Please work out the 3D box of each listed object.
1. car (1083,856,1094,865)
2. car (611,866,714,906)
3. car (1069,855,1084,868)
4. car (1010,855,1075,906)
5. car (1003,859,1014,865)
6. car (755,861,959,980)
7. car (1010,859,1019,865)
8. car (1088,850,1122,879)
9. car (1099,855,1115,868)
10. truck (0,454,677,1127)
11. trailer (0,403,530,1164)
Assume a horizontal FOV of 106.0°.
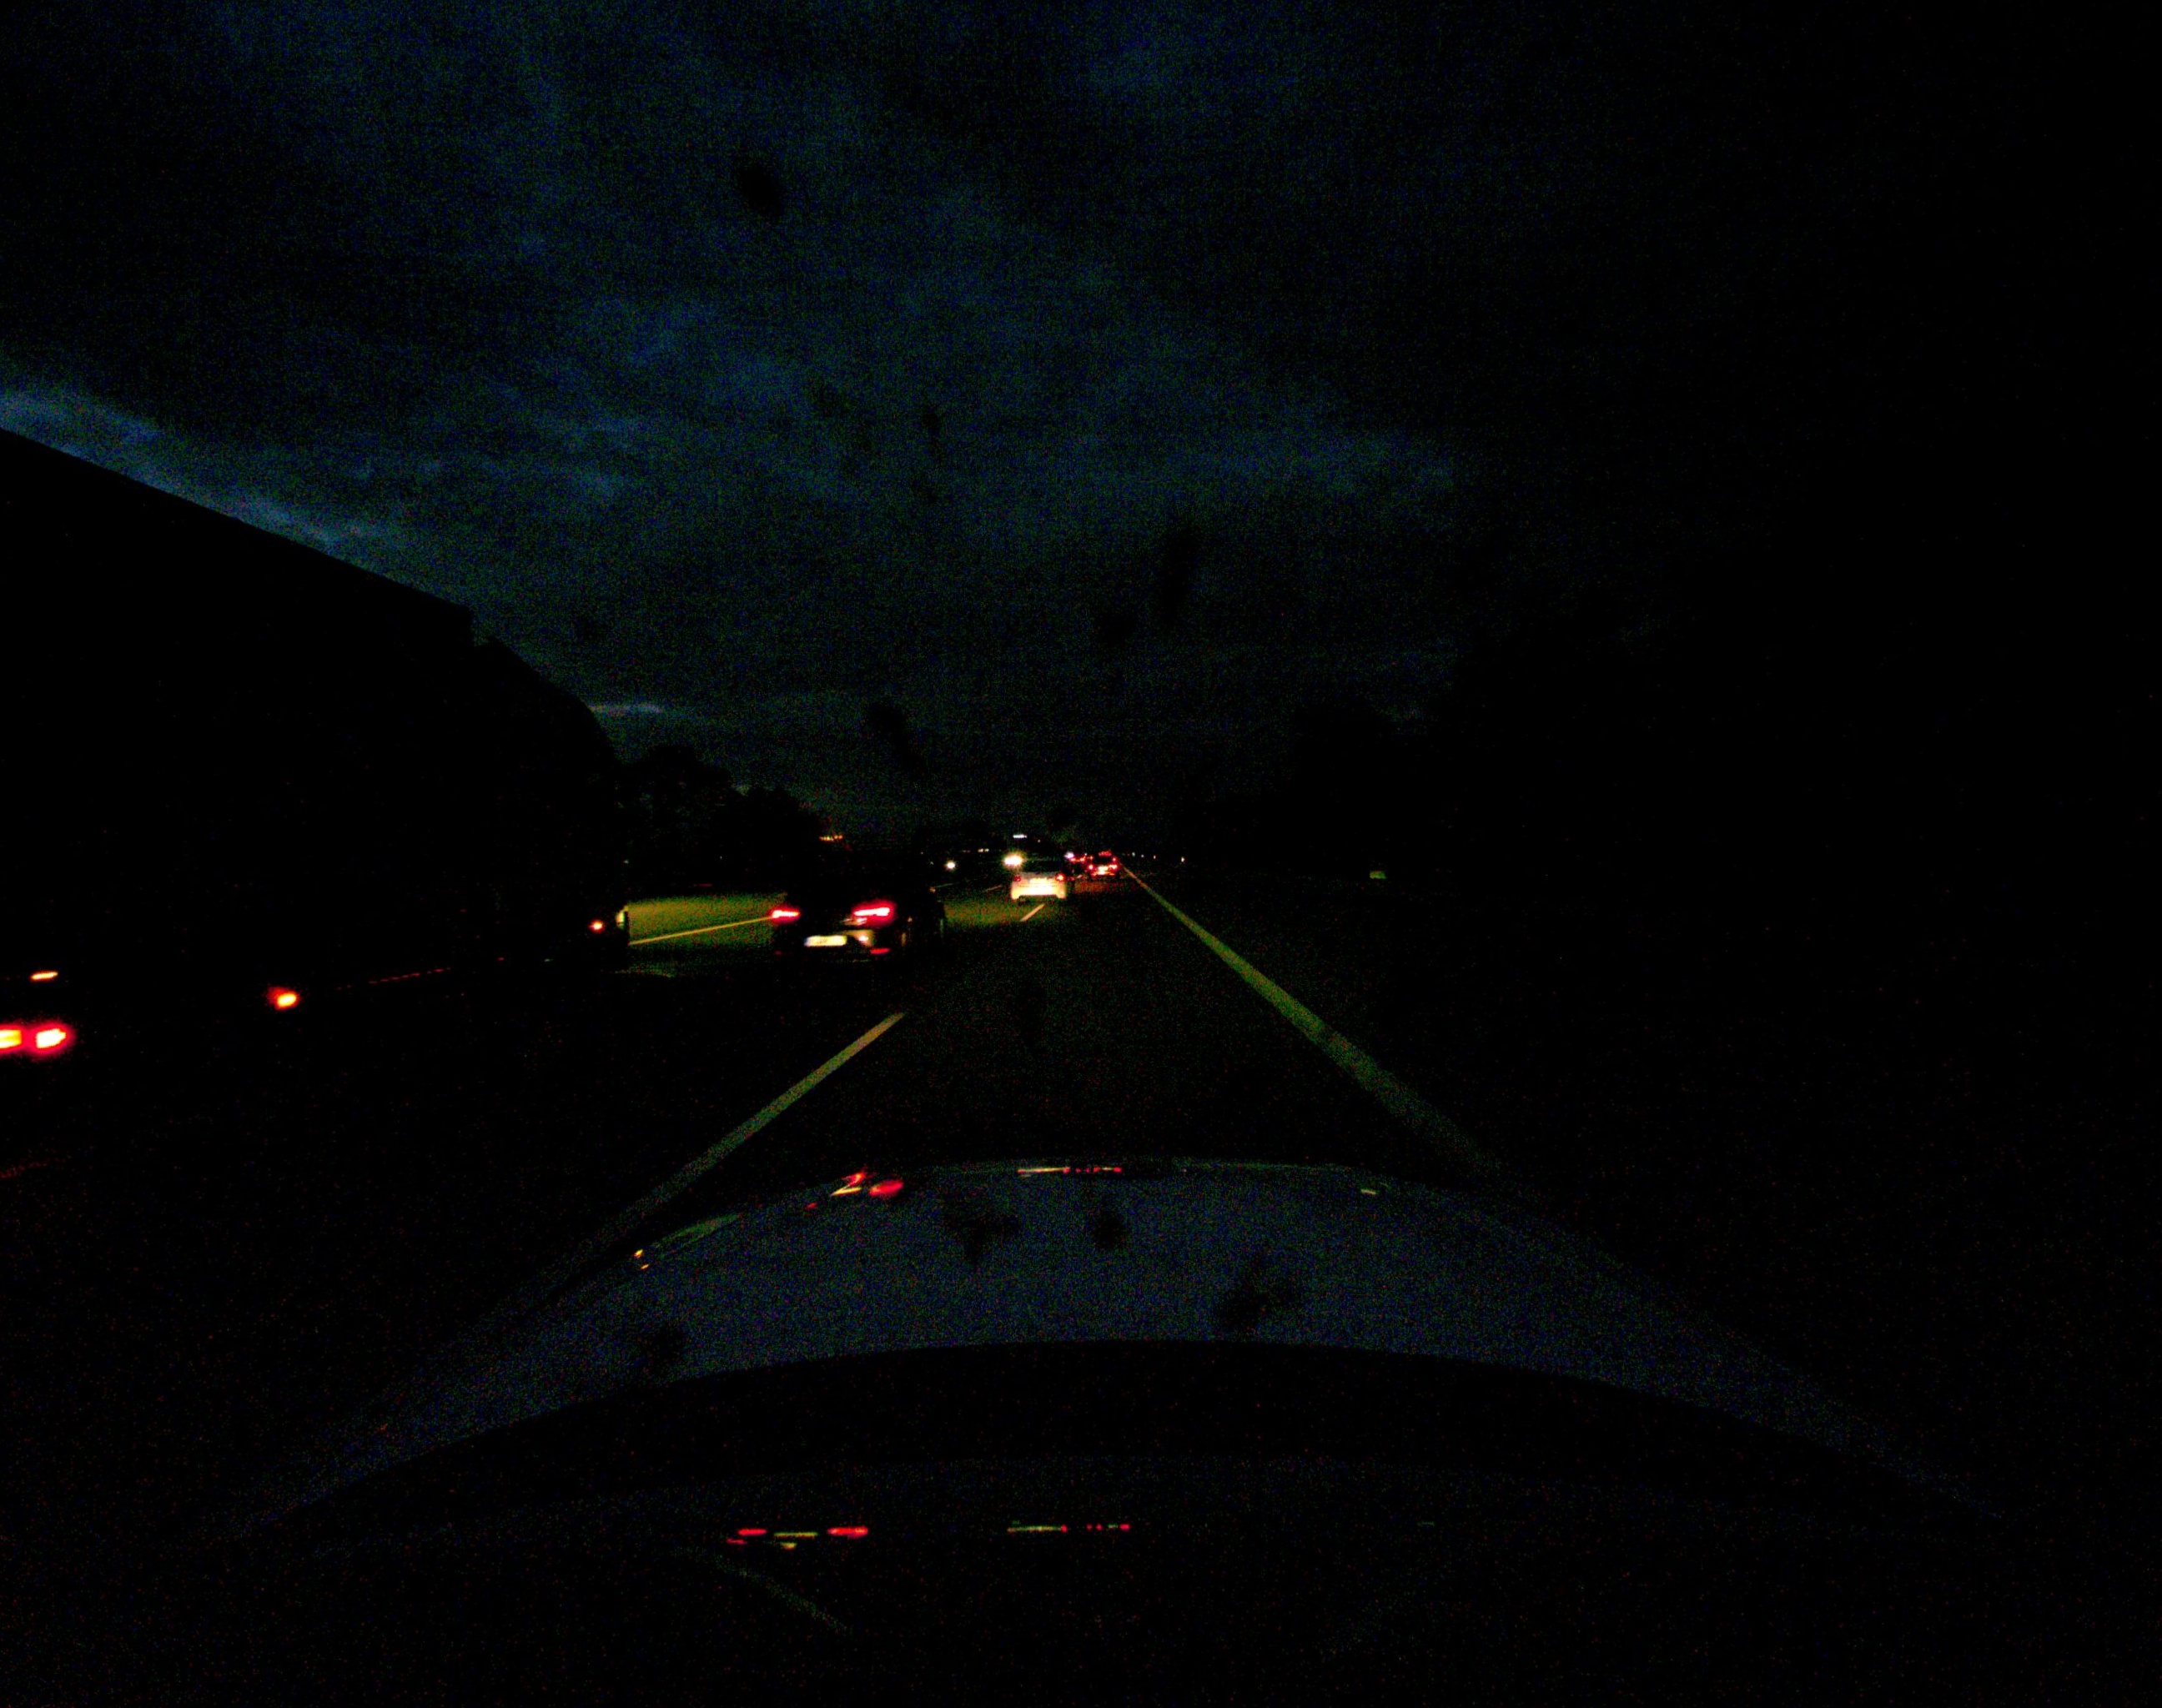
[{"bbox_3d":[1.515,1.308,164.545,2.191,1.879,4.001,-1,-1,1],"label":"car"},{"bbox_3d":[-14.679,1.100,28.794,1.648,1.289,3.646,-1,-1,1],"label":"car"},{"bbox_3d":[-0.594,0.960,105.207,1.873,1.552,4.000,-1,-1,1],"label":"car"},{"bbox_3d":[-1.159,0.812,26.380,1.737,1.525,4.416,-1,-1,2],"label":"car"},{"bbox_3d":[-17.565,1.969,197.417,1.986,1.521,5.838,-1,-1,2],"label":"car"},{"bbox_3d":[-3.152,0.855,12.531,1.716,1.471,4.727,-1,-1,1],"label":"car"},{"bbox_3d":[-13.775,1.732,168.382,1.358,1.261,3.507,-1,-1,1],"label":"car"},{"bbox_3d":[1.418,0.633,48.160,1.873,1.643,4.001,-1,-1,1],"label":"car"},{"bbox_3d":[3.203,0.909,101.077,1.873,1.552,4.000,-1,-1,1],"label":"car"},{"bbox_3d":[-7.040,-0.338,8.044,2.767,4.093,6.106,-2,-1,2],"label":"truck"},{"bbox_3d":[-7.317,-0.391,1.043,2.783,4.085,14.532,-2,-1,2],"label":"trailer"}]
